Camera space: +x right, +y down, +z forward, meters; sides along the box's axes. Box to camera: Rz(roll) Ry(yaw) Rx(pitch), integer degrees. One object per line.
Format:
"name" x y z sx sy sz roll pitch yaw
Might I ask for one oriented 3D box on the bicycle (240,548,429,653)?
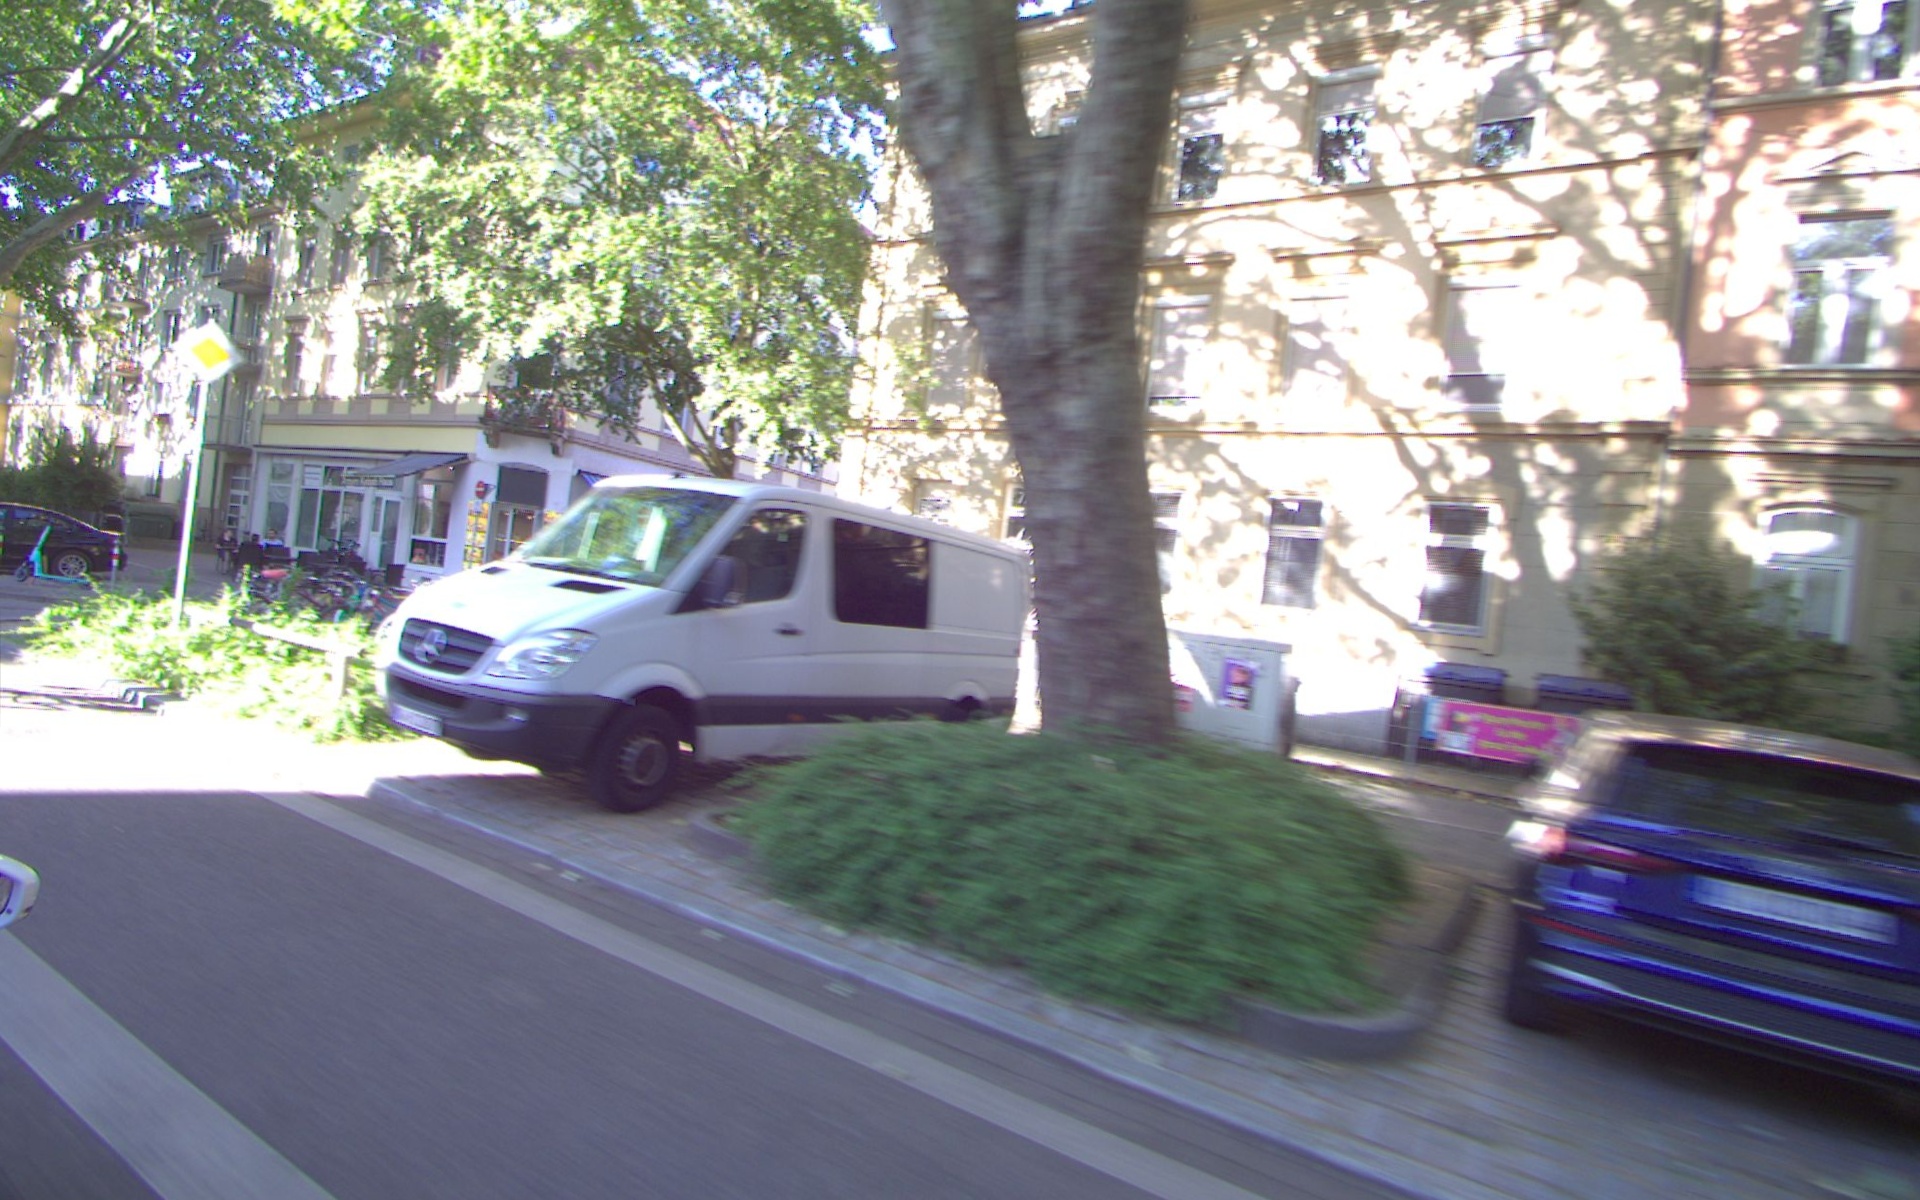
"bicycle" -8.326 0.039 13.491 0.407 1.192 2.040 6 -1 40

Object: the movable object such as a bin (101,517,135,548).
"movable object such as a bin" -28.558 -2.277 34.127 0.458 0.955 0.748 7 2 32

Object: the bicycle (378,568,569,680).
"bicycle" -6.107 0.328 12.716 2.032 1.193 0.409 8 -1 -37

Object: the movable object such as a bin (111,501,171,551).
"movable object such as a bin" -27.019 -2.452 33.202 1.099 1.456 1.167 7 2 32

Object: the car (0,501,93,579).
"car" -21.476 -1.469 21.517 1.656 1.509 4.097 7 -1 36

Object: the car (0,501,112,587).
"car" -19.641 -1.265 19.767 1.800 1.509 4.103 7 -1 30

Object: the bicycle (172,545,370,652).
"bicycle" -9.072 0.019 13.341 0.407 1.192 2.040 6 -1 40

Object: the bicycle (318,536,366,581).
"bicycle" -18.762 -1.272 30.516 1.717 1.171 0.470 8 2 33

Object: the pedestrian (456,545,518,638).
"pedestrian" -8.951 -0.145 19.061 0.695 1.671 0.594 6 0 6

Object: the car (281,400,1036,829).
"car" -1.806 0.208 8.431 1.974 2.310 5.996 8 0 34

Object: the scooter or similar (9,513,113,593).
"scooter or similar" -16.369 -0.840 18.336 1.303 1.271 0.337 7 0 -45

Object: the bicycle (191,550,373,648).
"bicycle" -9.684 0.020 14.448 0.407 1.192 2.040 6 -1 40

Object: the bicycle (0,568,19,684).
"bicycle" -7.796 0.156 7.387 2.470 1.015 0.596 7 -3 33

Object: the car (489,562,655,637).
"car" -9.940 0.034 26.027 1.662 1.429 3.684 9 0 28

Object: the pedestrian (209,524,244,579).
"pedestrian" -19.603 -1.298 26.893 0.480 1.392 1.049 7 0 -27

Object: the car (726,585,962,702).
"car" -1.991 0.733 17.151 3.509 1.472 1.737 7 -2 29

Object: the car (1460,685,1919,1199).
"car" 3.729 1.291 5.078 1.766 1.477 4.060 7 0 30

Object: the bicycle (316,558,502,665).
"bicycle" -7.282 0.178 13.369 2.032 1.193 0.409 8 -1 -37

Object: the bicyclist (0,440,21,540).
"bicyclist" -7.622 -0.471 7.392 0.920 1.568 0.616 7 -4 32

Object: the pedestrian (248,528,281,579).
"pedestrian" -19.083 -1.267 27.602 0.479 1.344 0.683 7 0 -21

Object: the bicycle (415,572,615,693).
"bicycle" -5.201 0.399 11.881 2.020 1.193 0.411 7 -1 -21
